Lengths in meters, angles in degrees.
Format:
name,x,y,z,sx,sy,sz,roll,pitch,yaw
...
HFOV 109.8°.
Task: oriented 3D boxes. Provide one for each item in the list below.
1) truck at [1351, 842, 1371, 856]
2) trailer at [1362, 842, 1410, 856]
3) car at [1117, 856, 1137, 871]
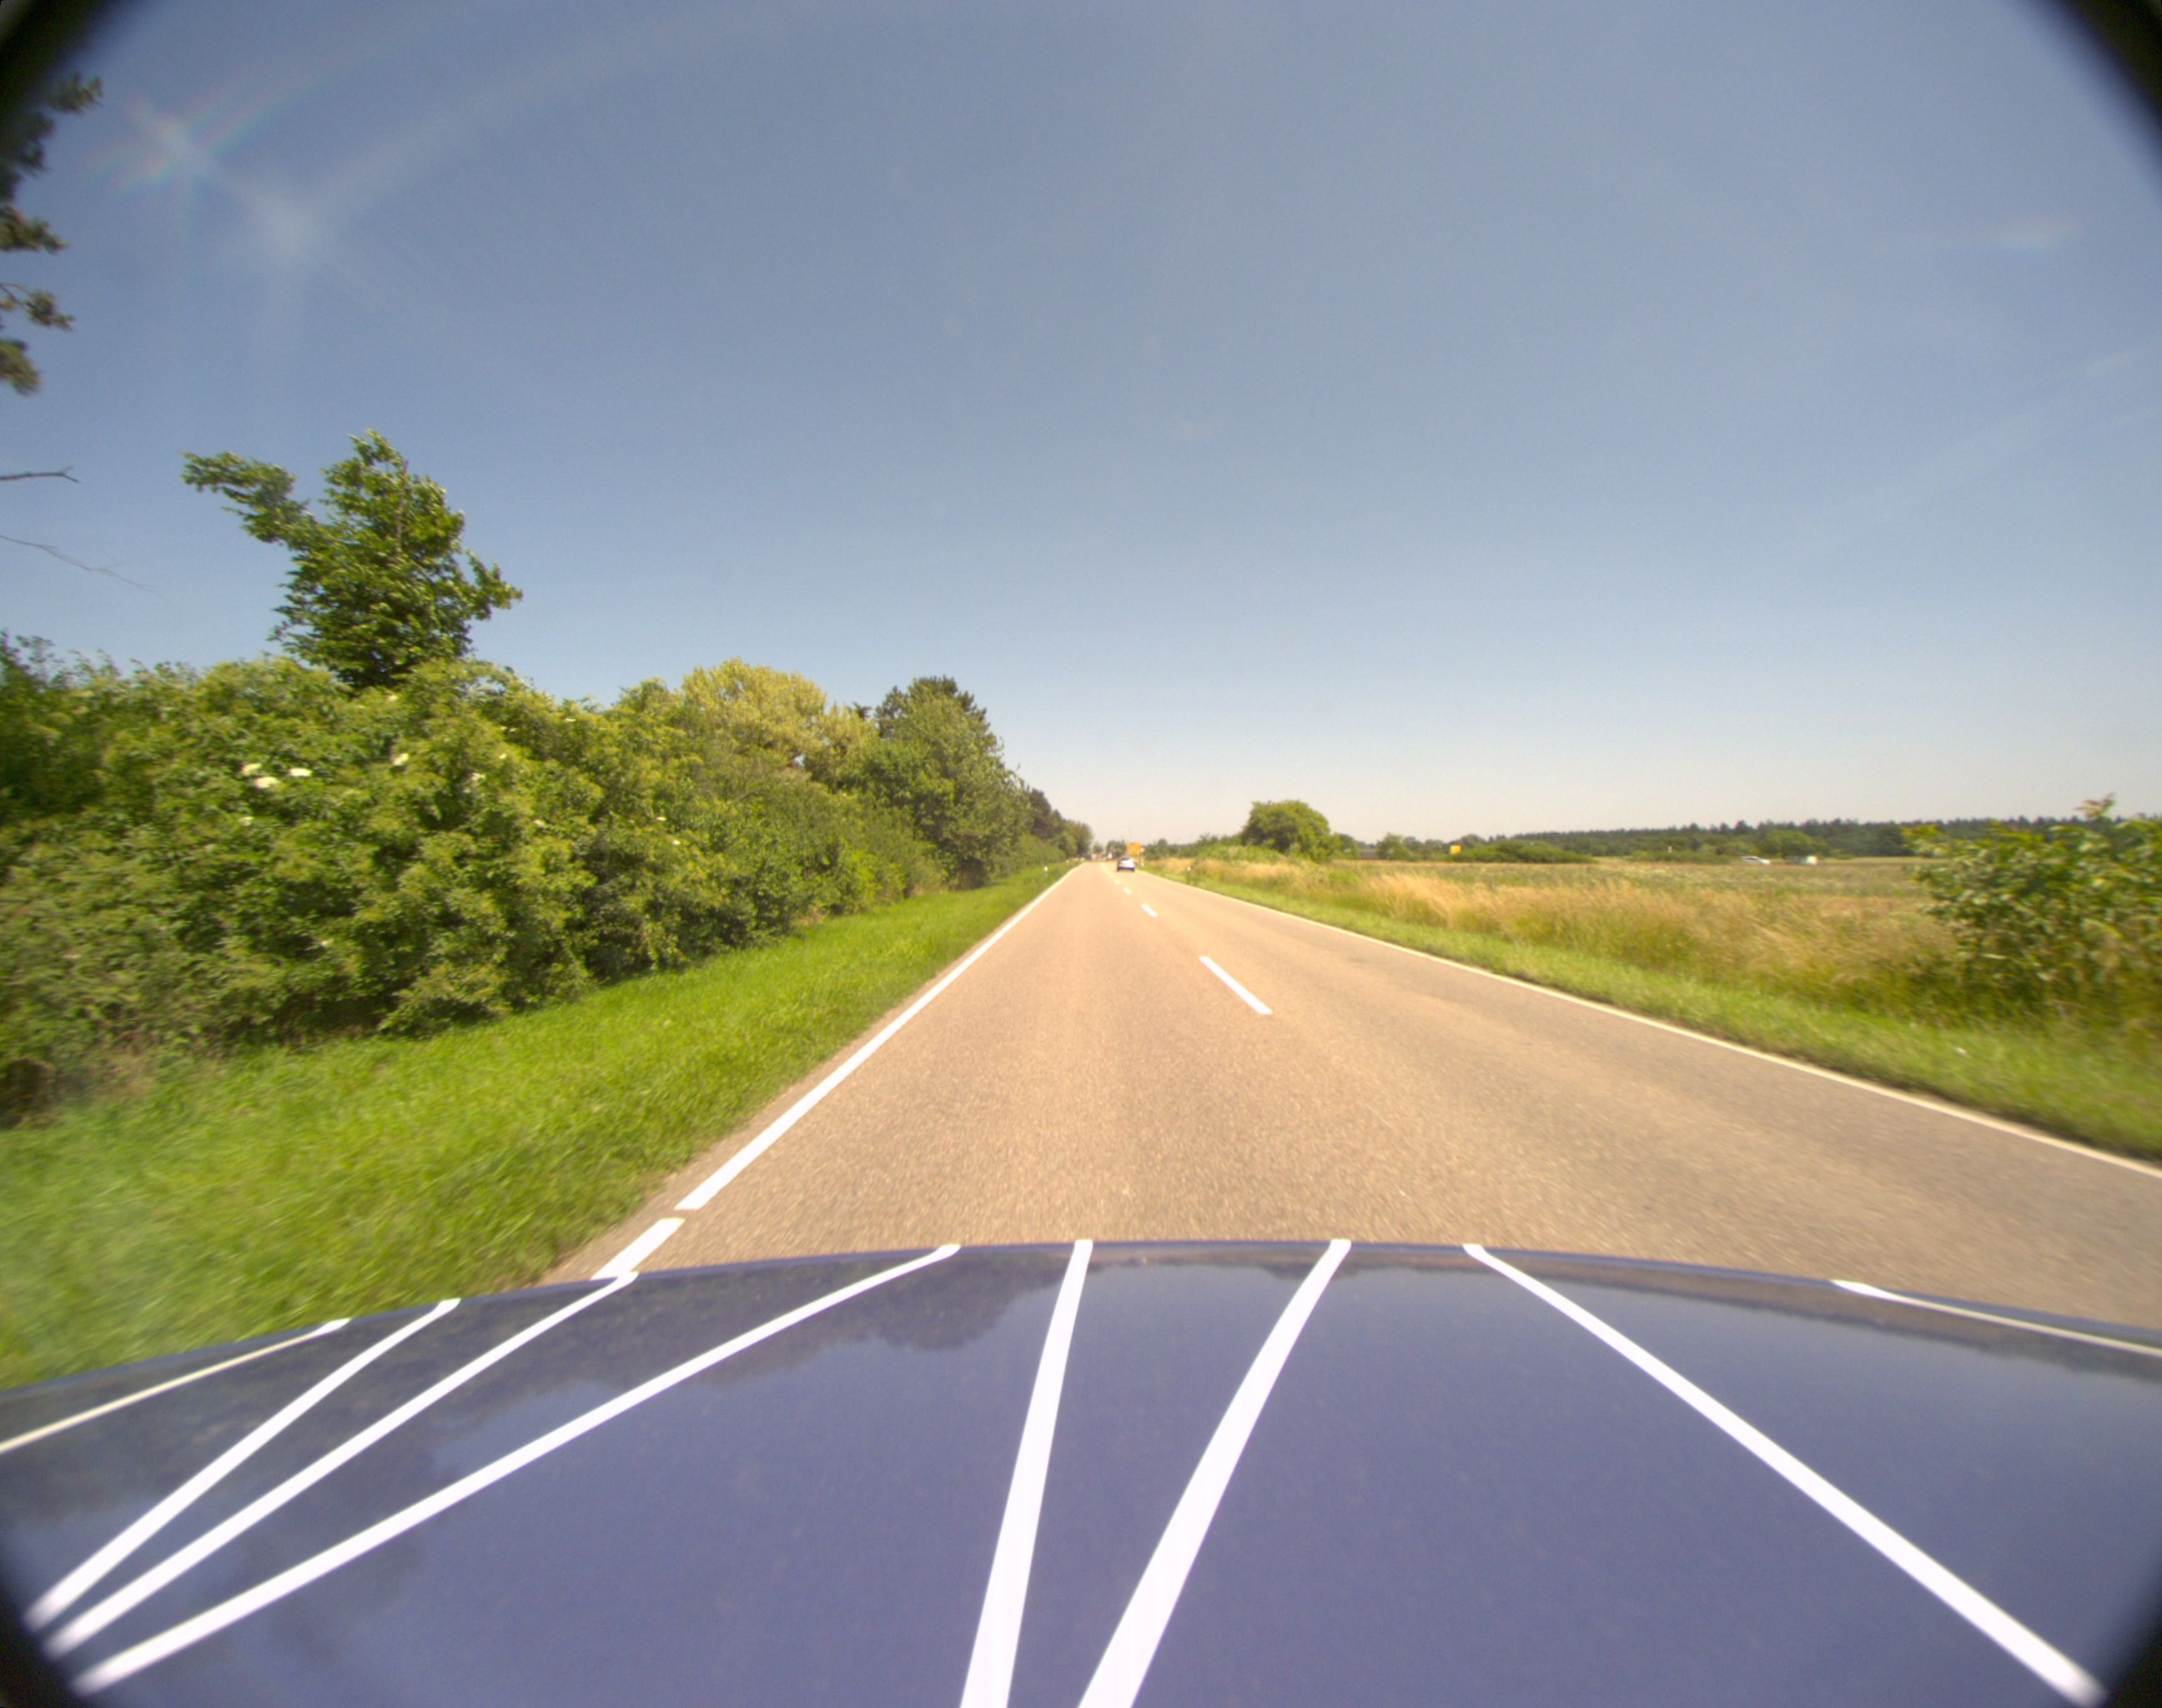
name,x,y,z,sx,sy,sz,roll,pitch,yaw
truck,80.675,-1.357,218.817,2.647,3.911,4.768,0,0,-28
trailer,84.585,-1.300,211.231,2.647,3.911,13.849,0,0,-28
car,4.594,0.947,75.953,1.682,1.413,4.422,1,0,0
